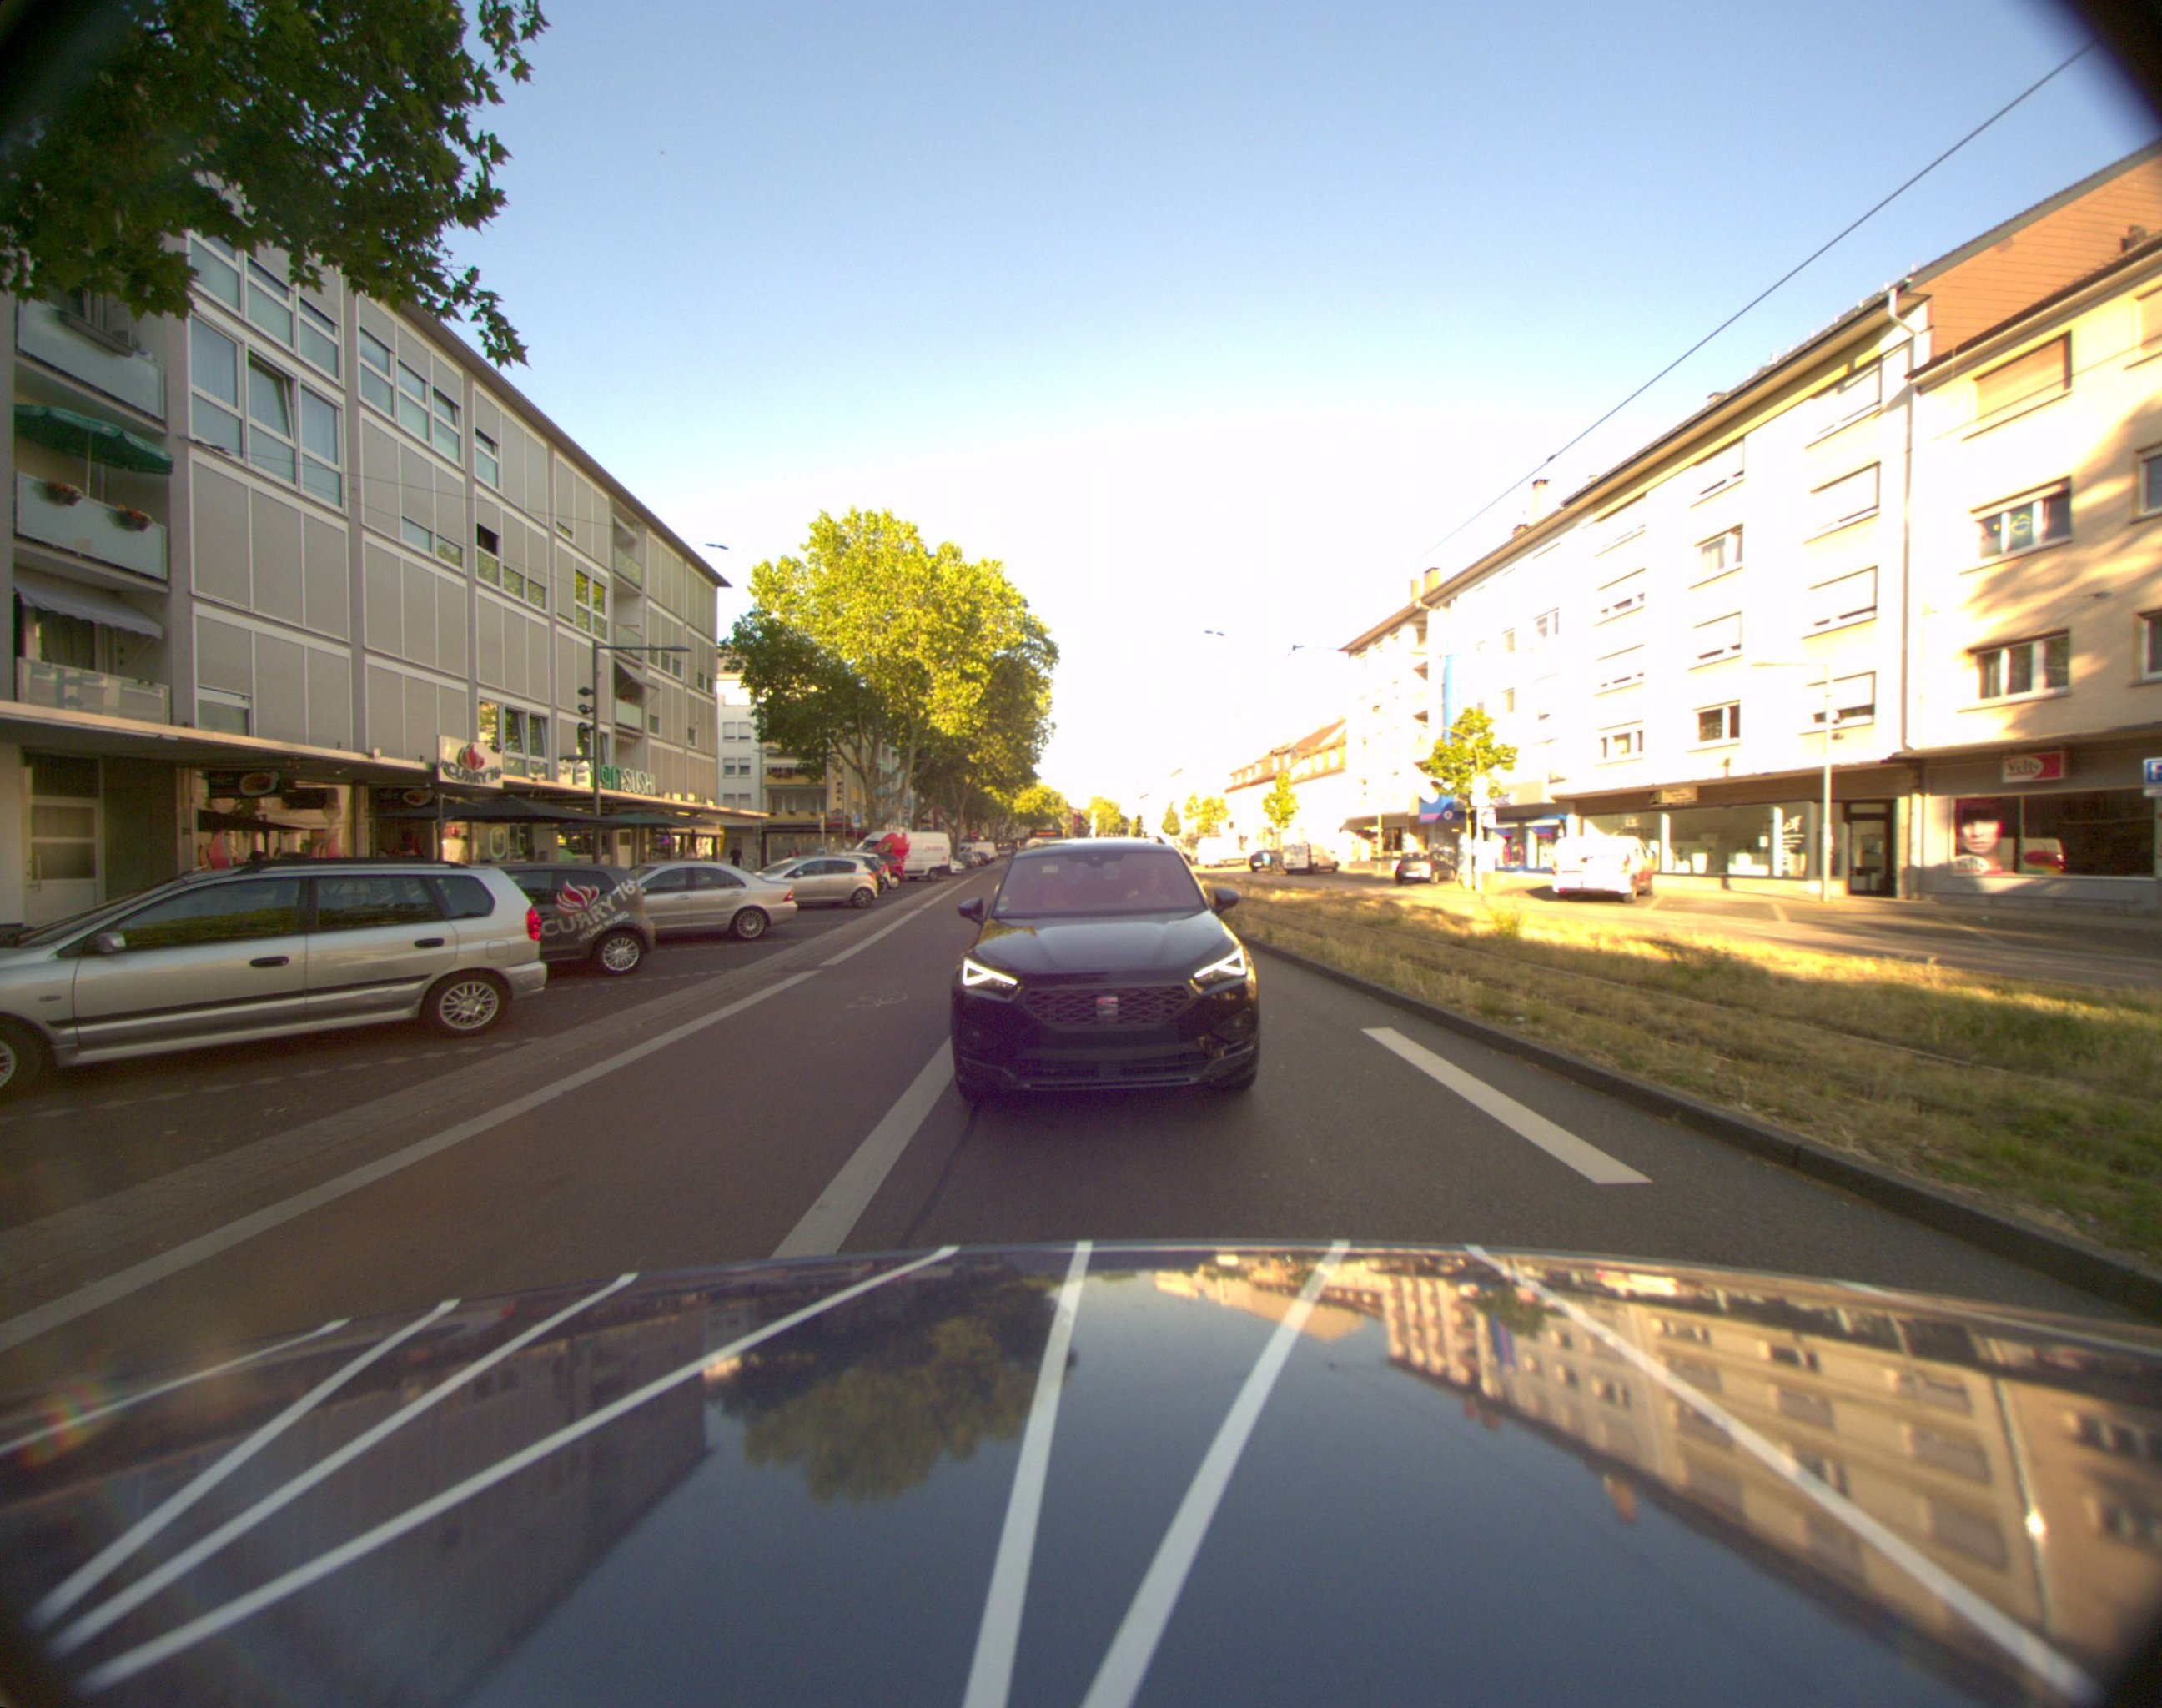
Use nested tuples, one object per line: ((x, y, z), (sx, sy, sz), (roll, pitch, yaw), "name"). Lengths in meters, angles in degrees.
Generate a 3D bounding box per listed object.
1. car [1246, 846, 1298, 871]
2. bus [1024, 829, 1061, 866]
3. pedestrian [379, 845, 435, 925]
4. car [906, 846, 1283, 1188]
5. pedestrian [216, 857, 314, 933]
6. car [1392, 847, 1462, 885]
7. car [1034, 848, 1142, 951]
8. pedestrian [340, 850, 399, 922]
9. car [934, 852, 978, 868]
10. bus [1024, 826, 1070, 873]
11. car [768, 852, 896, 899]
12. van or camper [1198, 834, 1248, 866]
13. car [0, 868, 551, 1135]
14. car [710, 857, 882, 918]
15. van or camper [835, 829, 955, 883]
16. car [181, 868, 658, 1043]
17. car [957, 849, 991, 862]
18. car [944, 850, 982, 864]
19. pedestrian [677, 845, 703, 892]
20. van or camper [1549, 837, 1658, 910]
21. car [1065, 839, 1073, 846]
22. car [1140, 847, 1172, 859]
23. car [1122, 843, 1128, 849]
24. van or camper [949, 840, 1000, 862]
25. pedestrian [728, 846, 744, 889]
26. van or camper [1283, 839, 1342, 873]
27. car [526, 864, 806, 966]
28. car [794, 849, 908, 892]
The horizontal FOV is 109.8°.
((13.749, 0.294, 54.647), (1.874, 1.577, 4.008), (-1, 1, 43), "car")
((-3.675, -0.716, 68.934), (2.873, 2.962, 12.231), (-2, 2, -5), "bus")
((-13.778, 0.621, 15.545), (0.538, 1.582, 0.686), (2, 1, -5), "pedestrian")
((0.094, 0.793, 5.764), (1.808, 1.638, 3.999), (-2, 1, 1), "car")
((-15.161, 0.744, 14.152), (0.750, 1.354, 0.962), (0, 1, 0), "pedestrian")
((15.623, 0.518, 34.220), (1.765, 1.482, 4.460), (-1, 1, 39), "car")
((0.066, 0.686, 13.725), (1.659, 1.572, 3.999), (0, 1, -1), "car")
((-14.357, 0.633, 15.348), (0.538, 1.392, 0.686), (2, 1, -5), "pedestrian")
((-10.555, 0.479, 64.228), (3.337, 1.339, 1.526), (0, 2, -44), "car")
((-2.696, -0.463, 56.814), (2.873, 2.962, 12.231), (-2, 2, -5), "bus")
((-8.794, 0.702, 27.011), (4.008, 1.514, 1.654), (0, 2, -44), "car")
((12.907, -0.398, 68.552), (1.994, 2.652, 6.410), (-1, 1, 34), "van or camper")
((-6.914, 0.963, 6.088), (1.804, 1.597, 4.008), (1, 1, 38), "car")
((-7.615, 0.832, 20.503), (4.008, 1.428, 1.654), (0, 2, -44), "car")
((-9.113, 0.060, 37.605), (5.474, 2.455, 1.994), (-1, 1, -44), "van or camper")
((-7.577, 0.964, 9.071), (1.804, 1.498, 4.008), (1, 1, 38), "car")
((-11.391, 0.176, 81.270), (3.337, 1.339, 1.526), (0, 2, -44), "car")
((-11.482, 0.260, 74.017), (3.337, 1.339, 1.526), (0, 2, -44), "car")
((-13.455, 0.492, 26.152), (0.538, 1.582, 0.686), (2, 1, -5), "pedestrian")
((15.830, 0.510, 22.890), (1.946, 1.887, 4.824), (-1, 1, 43), "van or camper")
((-2.810, -2.725, 176.075), (1.740, 1.539, 3.999), (0, 1, 0), "car")
((10.170, -0.084, 103.189), (3.921, 1.482, 1.766), (-3, 1, -27), "car")
((14.043, -2.502, 241.153), (1.869, 1.832, 3.826), (0, 1, 2), "car")
((-11.828, -0.362, 84.760), (1.994, 2.455, 5.474), (1, 1, 44), "van or camper")
((-16.248, 0.640, 35.768), (0.552, 2.002, 0.576), (-3, 1, -18), "pedestrian")
((14.584, 0.117, 47.786), (1.795, 1.978, 4.460), (-1, 1, 41), "van or camper")
((-7.129, 0.936, 13.359), (1.654, 1.428, 4.009), (2, 2, 43), "car")
((-9.100, 0.618, 30.206), (4.008, 1.555, 1.654), (0, 2, -44), "car")
